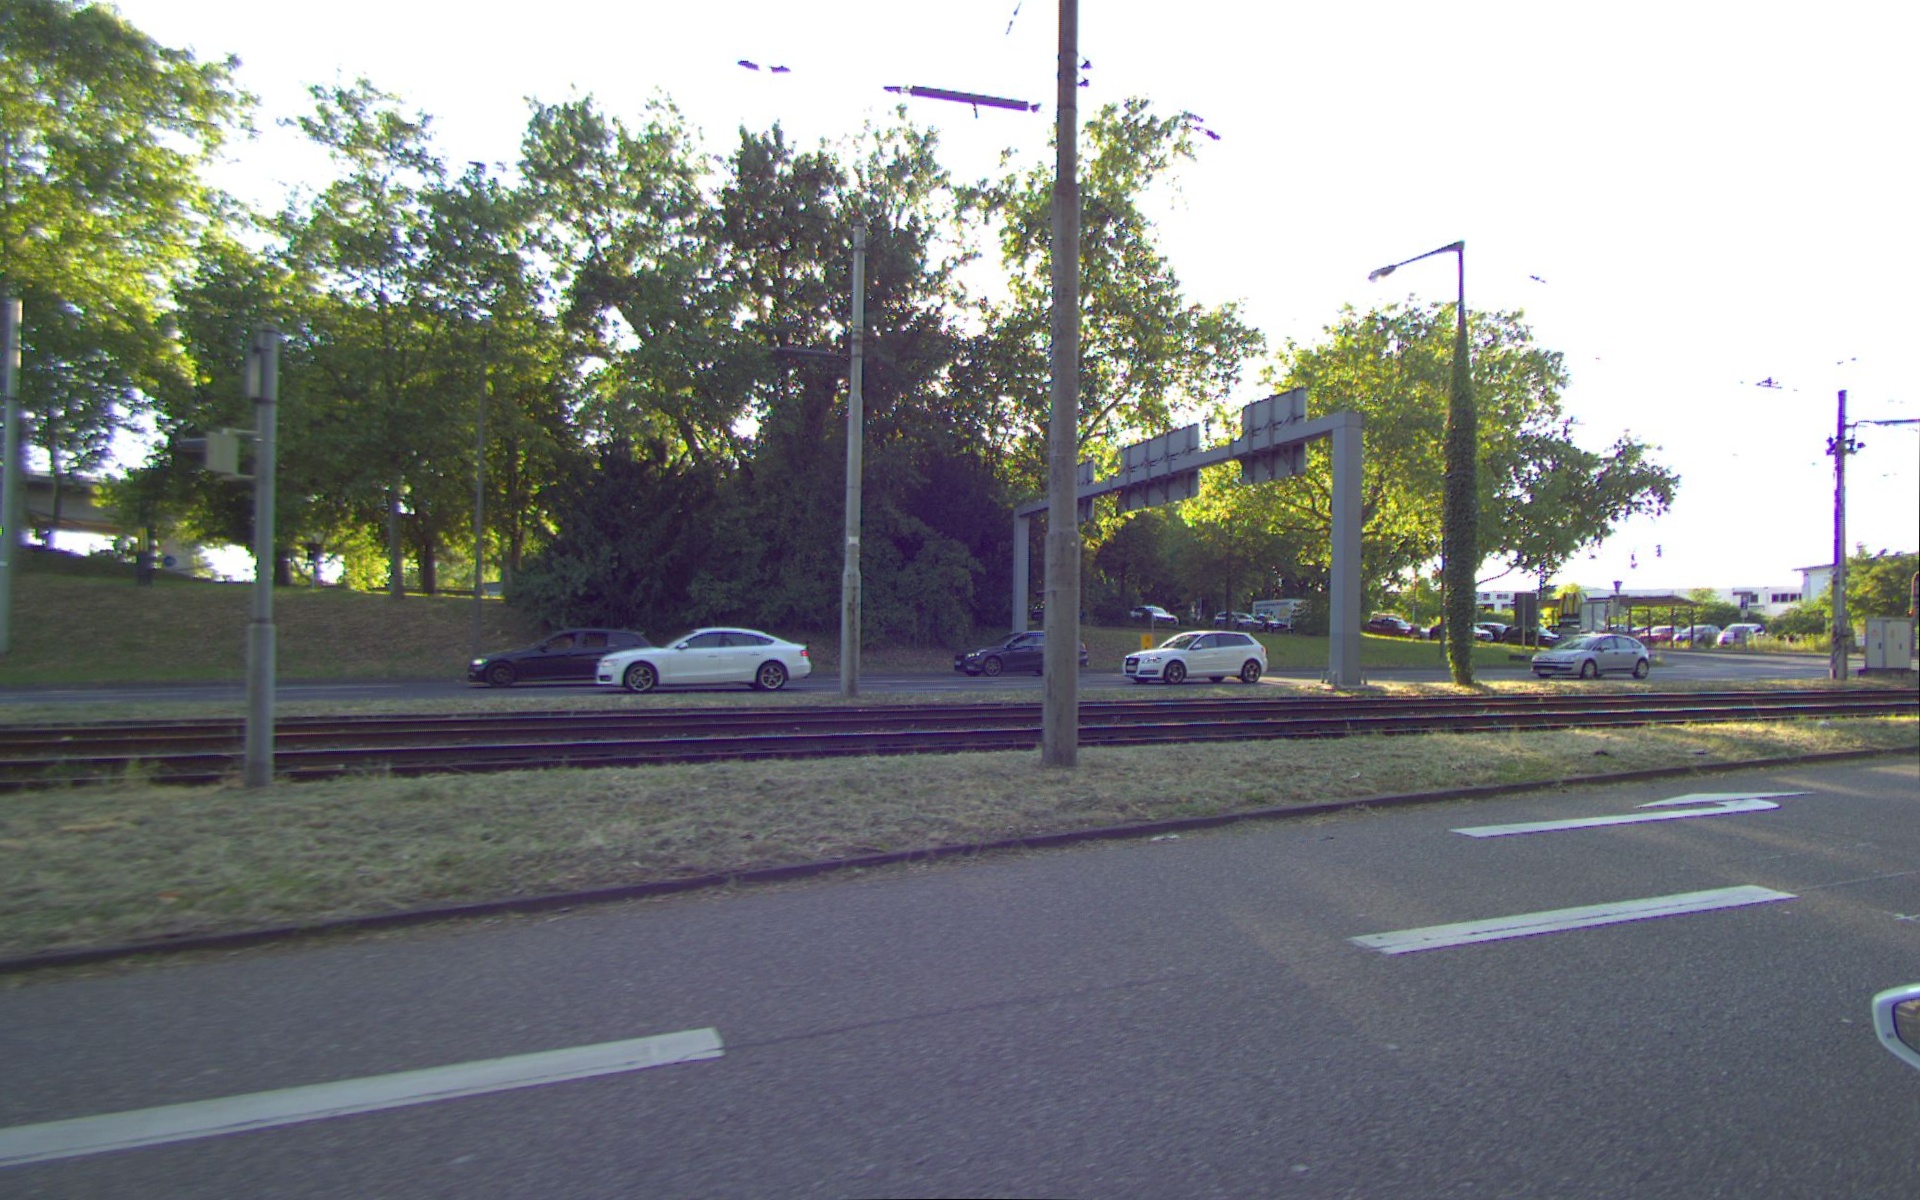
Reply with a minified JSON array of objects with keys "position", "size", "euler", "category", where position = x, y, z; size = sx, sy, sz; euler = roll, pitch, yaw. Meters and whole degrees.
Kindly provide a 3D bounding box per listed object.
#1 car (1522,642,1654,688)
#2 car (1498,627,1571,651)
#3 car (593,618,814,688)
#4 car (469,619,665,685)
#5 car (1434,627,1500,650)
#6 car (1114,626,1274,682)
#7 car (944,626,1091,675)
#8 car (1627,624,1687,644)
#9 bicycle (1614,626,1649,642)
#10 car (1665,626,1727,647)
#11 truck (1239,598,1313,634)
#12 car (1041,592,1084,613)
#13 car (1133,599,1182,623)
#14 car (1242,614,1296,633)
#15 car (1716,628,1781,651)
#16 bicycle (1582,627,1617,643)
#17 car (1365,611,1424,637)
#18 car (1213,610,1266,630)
[{"position":[21.178,2.168,33.854],"size":[4.197,1.434,1.650],"euler":[1,-1,-23],"category":"car"},{"position":[37.255,2.516,65.204],"size":[1.754,1.405,4.055],"euler":[1,0,-15],"category":"car"},{"position":[-5.699,1.169,22.339],"size":[4.535,1.434,1.834],"euler":[2,-2,-24],"category":"car"},{"position":[-9.741,1.290,25.087],"size":[4.373,1.501,1.834],"euler":[2,0,-23],"category":"car"},{"position":[35.497,2.674,70.445],"size":[1.757,1.405,4.049],"euler":[2,0,-20],"category":"car"},{"position":[6.494,1.471,27.855],"size":[4.199,1.434,1.649],"euler":[1,-1,-24],"category":"car"},{"position":[1.911,1.669,33.297],"size":[4.534,1.501,1.834],"euler":[2,0,-23],"category":"car"},{"position":[53.608,2.608,77.242],"size":[3.938,1.461,1.839],"euler":[2,0,-19],"category":"car"},{"position":[48.485,2.478,72.503],"size":[2.150,1.079,0.667],"euler":[1,0,-5],"category":"bicycle"},{"position":[54.422,2.697,74.269],"size":[3.938,1.461,1.839],"euler":[2,0,-19],"category":"car"},{"position":[32.180,1.592,102.697],"size":[2.693,3.433,8.277],"euler":[1,0,-20],"category":"truck"},{"position":[6.906,0.150,67.935],"size":[1.502,1.350,3.504],"euler":[1,0,-21],"category":"car"},{"position":[13.829,0.757,70.562],"size":[1.829,1.550,3.990],"euler":[1,0,-13],"category":"car"},{"position":[22.964,1.760,74.695],"size":[1.650,1.277,3.978],"euler":[2,0,-23],"category":"car"},{"position":[56.048,2.806,71.391],"size":[3.938,1.461,1.839],"euler":[2,0,-19],"category":"car"},{"position":[47.966,2.621,75.349],"size":[2.148,1.079,0.668],"euler":[1,0,9],"category":"bicycle"},{"position":[32.948,1.781,76.212],"size":[1.969,1.884,3.984],"euler":[1,-1,-18],"category":"car"},{"position":[20.385,1.461,73.452],"size":[1.650,1.390,3.978],"euler":[2,0,-23],"category":"car"}]
